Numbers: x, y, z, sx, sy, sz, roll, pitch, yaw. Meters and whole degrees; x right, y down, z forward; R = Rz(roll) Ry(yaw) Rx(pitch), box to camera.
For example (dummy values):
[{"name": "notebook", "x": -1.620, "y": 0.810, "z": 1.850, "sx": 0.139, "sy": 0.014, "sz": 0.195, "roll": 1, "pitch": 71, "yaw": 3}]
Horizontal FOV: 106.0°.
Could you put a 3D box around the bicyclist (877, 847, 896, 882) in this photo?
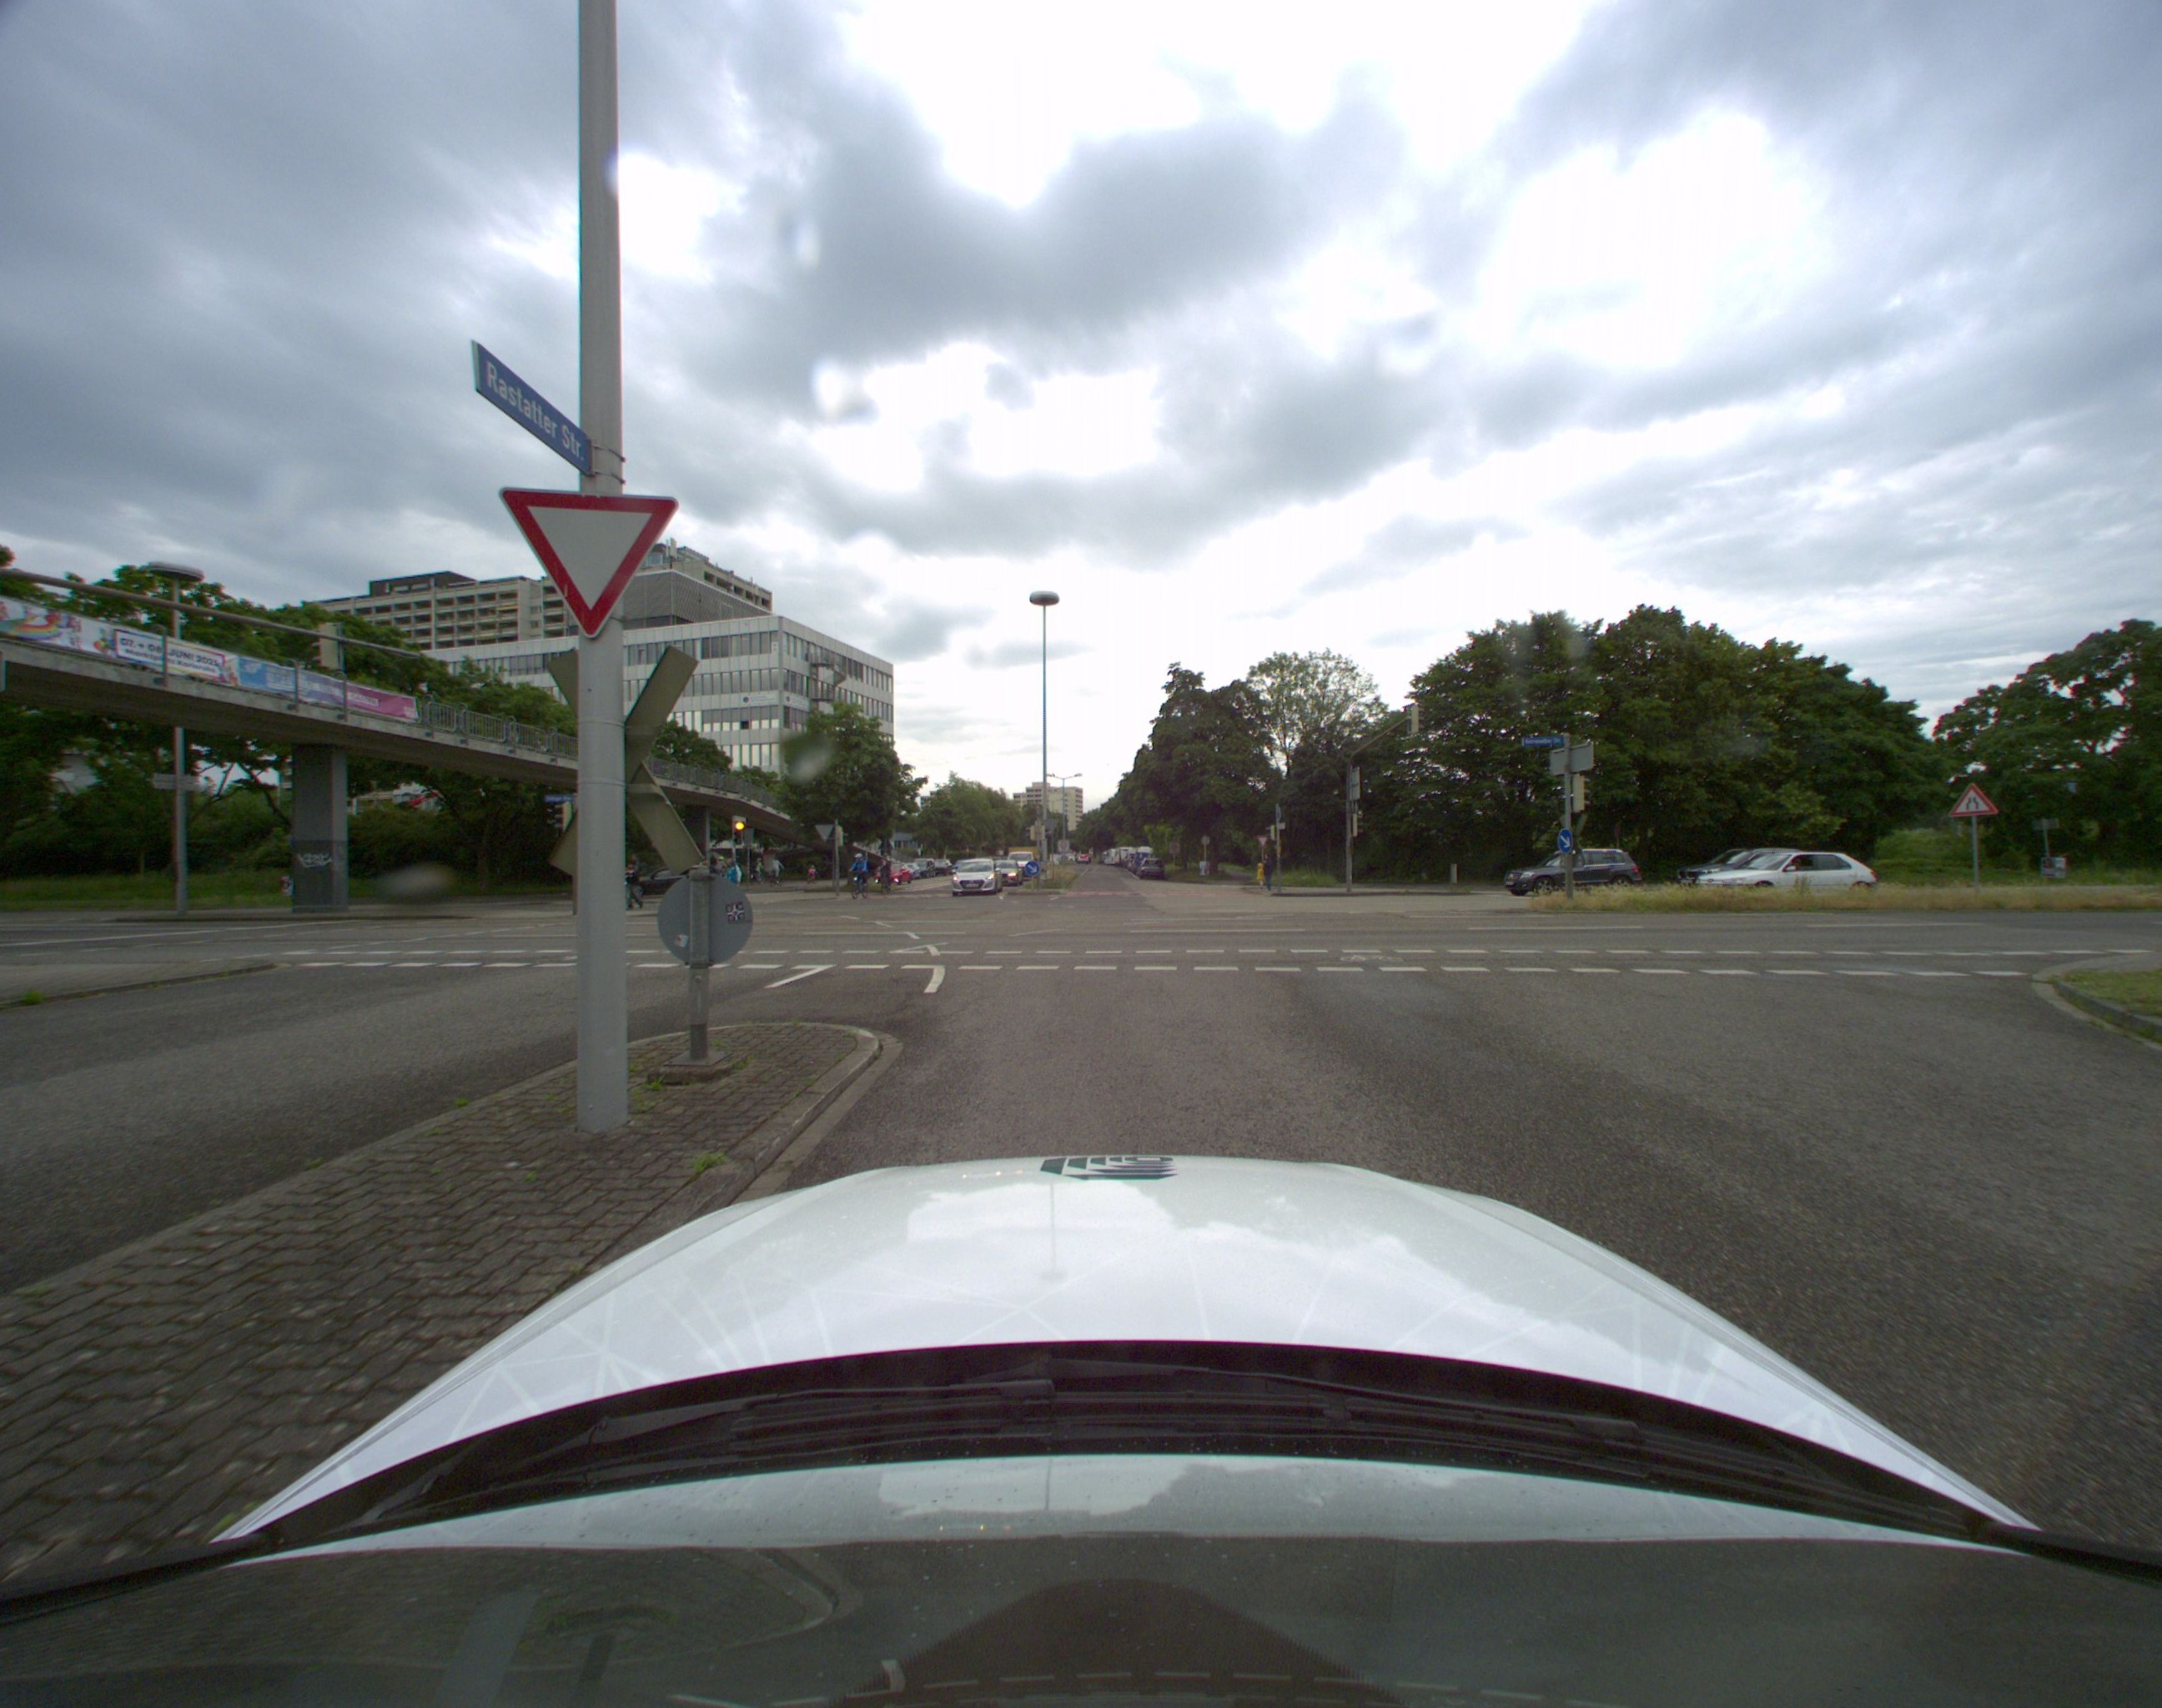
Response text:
[{"name": "bicyclist", "x": -8.941, "y": 0.490, "z": 37.486, "sx": 0.677, "sy": 1.594, "sz": 0.695, "roll": -1, "pitch": 0, "yaw": -1}]

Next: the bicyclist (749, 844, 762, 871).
[{"name": "bicyclist", "x": -20.319, "y": 0.233, "z": 50.894, "sx": 0.563, "sy": 1.644, "sz": 0.531, "roll": -1, "pitch": 0, "yaw": -1}]

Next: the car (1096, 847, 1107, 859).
[{"name": "car", "x": 3.663, "y": -0.161, "z": 145.859, "sx": 1.648, "sy": 1.918, "sz": 3.913, "roll": -1, "pitch": 1, "yaw": -5}]

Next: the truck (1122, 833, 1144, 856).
[{"name": "truck", "x": 6.818, "y": -1.229, "z": 107.127, "sx": 1.990, "sy": 2.838, "sz": 5.723, "roll": -1, "pitch": 0, "yaw": -4}]

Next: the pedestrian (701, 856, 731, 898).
[{"name": "pedestrian", "x": -13.293, "y": 0.830, "z": 29.683, "sx": 0.918, "sy": 1.510, "sz": 0.402, "roll": -1, "pitch": 0, "yaw": -12}]

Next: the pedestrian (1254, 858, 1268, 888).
[{"name": "pedestrian", "x": 8.177, "y": 0.870, "z": 36.975, "sx": 0.525, "sy": 1.342, "sz": 0.524, "roll": -1, "pitch": 0, "yaw": -1}]

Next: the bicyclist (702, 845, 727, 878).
[{"name": "bicyclist", "x": -21.649, "y": 0.435, "z": 48.115, "sx": 0.853, "sy": 1.892, "sz": 1.128, "roll": -1, "pitch": 1, "yaw": 1}]

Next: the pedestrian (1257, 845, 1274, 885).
[{"name": "pedestrian", "x": 8.250, "y": 0.492, "z": 36.412, "sx": 0.655, "sy": 1.749, "sz": 0.459, "roll": -1, "pitch": 0, "yaw": -1}]

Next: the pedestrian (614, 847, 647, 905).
[{"name": "pedestrian", "x": -14.452, "y": 0.690, "z": 26.137, "sx": 0.637, "sy": 1.803, "sz": 0.799, "roll": -1, "pitch": 0, "yaw": -10}]

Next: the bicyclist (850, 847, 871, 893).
[{"name": "bicyclist", "x": -8.722, "y": 0.622, "z": 32.222, "sx": 0.642, "sy": 1.768, "sz": 0.647, "roll": -1, "pitch": 0, "yaw": 0}]

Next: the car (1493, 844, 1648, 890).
[{"name": "car", "x": 17.382, "y": 0.435, "z": 29.049, "sx": 4.450, "sy": 1.504, "sz": 1.846, "roll": -1, "pitch": 1, "yaw": 0}]

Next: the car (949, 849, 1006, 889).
[{"name": "car", "x": -4.235, "y": 0.630, "z": 33.928, "sx": 1.783, "sy": 1.519, "sz": 4.324, "roll": -1, "pitch": -1, "yaw": 0}]

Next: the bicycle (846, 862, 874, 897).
[{"name": "bicycle", "x": -8.765, "y": 0.987, "z": 32.395, "sx": 0.541, "sy": 1.267, "sz": 2.110, "roll": -1, "pitch": 1, "yaw": -1}]

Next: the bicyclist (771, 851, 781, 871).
[{"name": "bicyclist", "x": -18.044, "y": 0.416, "z": 48.167, "sx": 0.403, "sy": 1.181, "sz": 0.377, "roll": -1, "pitch": 1, "yaw": 1}]

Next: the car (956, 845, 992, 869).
[{"name": "car", "x": -6.868, "y": 0.166, "z": 52.756, "sx": 1.764, "sy": 1.477, "sz": 4.389, "roll": -1, "pitch": 1, "yaw": 0}]

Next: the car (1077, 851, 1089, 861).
[{"name": "car", "x": 0.336, "y": 0.351, "z": 141.537, "sx": 2.014, "sy": 1.505, "sz": 3.999, "roll": -1, "pitch": 1, "yaw": -1}]

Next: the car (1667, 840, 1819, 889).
[{"name": "car", "x": 23.629, "y": 0.357, "z": 29.165, "sx": 3.977, "sy": 1.618, "sz": 1.877, "roll": -1, "pitch": 0, "yaw": -2}]

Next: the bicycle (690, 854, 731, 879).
[{"name": "bicycle", "x": -21.671, "y": 0.694, "z": 47.732, "sx": 0.853, "sy": 1.315, "sz": 3.231, "roll": -1, "pitch": 1, "yaw": 1}]

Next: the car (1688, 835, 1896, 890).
[{"name": "car", "x": 18.746, "y": 0.207, "z": 21.590, "sx": 4.123, "sy": 1.357, "sz": 1.647, "roll": -1, "pitch": 1, "yaw": 0}]

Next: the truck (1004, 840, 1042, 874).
[{"name": "truck", "x": -3.915, "y": 0.163, "z": 55.658, "sx": 2.148, "sy": 2.199, "sz": 5.839, "roll": -1, "pitch": 1, "yaw": 0}]

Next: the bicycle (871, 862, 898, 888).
[{"name": "bicycle", "x": -8.954, "y": 0.943, "z": 37.201, "sx": 0.724, "sy": 1.101, "sz": 2.263, "roll": -1, "pitch": 1, "yaw": -1}]

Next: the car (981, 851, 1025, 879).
[{"name": "car", "x": -4.288, "y": 0.578, "z": 45.479, "sx": 1.890, "sy": 1.420, "sz": 4.737, "roll": -1, "pitch": 0, "yaw": 1}]

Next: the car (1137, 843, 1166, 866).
[{"name": "car", "x": 5.238, "y": 0.032, "z": 60.953, "sx": 1.779, "sy": 1.662, "sz": 3.999, "roll": -1, "pitch": 1, "yaw": -1}]

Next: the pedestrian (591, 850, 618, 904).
[{"name": "pedestrian", "x": -15.151, "y": 0.730, "z": 25.892, "sx": 0.619, "sy": 1.691, "sz": 0.403, "roll": -1, "pitch": 0, "yaw": -15}]

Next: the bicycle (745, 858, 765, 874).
[{"name": "bicycle", "x": -20.210, "y": 0.738, "z": 50.471, "sx": 0.524, "sy": 0.949, "sz": 1.709, "roll": -1, "pitch": 1, "yaw": 0}]

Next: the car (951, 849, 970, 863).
[{"name": "car", "x": -14.069, "y": 0.185, "z": 95.378, "sx": 1.666, "sy": 1.552, "sz": 4.000, "roll": -1, "pitch": 1, "yaw": 0}]

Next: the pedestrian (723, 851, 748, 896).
[{"name": "pedestrian", "x": -12.523, "y": 0.714, "z": 29.542, "sx": 0.686, "sy": 1.604, "sz": 0.487, "roll": -1, "pitch": 0, "yaw": -6}]

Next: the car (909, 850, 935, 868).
[{"name": "car", "x": -14.603, "y": 0.437, "z": 75.047, "sx": 1.666, "sy": 1.552, "sz": 3.762, "roll": -1, "pitch": 1, "yaw": 0}]

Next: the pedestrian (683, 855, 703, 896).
[{"name": "pedestrian", "x": -15.254, "y": 0.835, "z": 32.027, "sx": 0.580, "sy": 1.579, "sz": 0.776, "roll": -1, "pitch": 0, "yaw": -19}]

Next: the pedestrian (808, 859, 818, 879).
[{"name": "pedestrian", "x": -17.414, "y": 0.975, "z": 52.938, "sx": 0.498, "sy": 1.270, "sz": 0.459, "roll": -1, "pitch": 0, "yaw": 1}]

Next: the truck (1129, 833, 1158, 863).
[{"name": "truck", "x": 5.943, "y": -0.553, "z": 77.763, "sx": 2.168, "sy": 2.656, "sz": 6.244, "roll": -2, "pitch": 0, "yaw": -1}]

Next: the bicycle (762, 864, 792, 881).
[{"name": "bicycle", "x": -18.092, "y": 1.068, "z": 48.457, "sx": 0.757, "sy": 0.949, "sz": 1.959, "roll": -1, "pitch": 0, "yaw": 10}]

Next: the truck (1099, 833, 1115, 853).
[{"name": "truck", "x": 4.055, "y": -1.690, "z": 129.927, "sx": 1.989, "sy": 3.009, "sz": 5.764, "roll": -1, "pitch": 0, "yaw": -4}]

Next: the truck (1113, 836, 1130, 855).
[{"name": "truck", "x": 5.861, "y": -1.227, "z": 119.177, "sx": 1.989, "sy": 2.572, "sz": 5.373, "roll": -1, "pitch": 0, "yaw": -3}]

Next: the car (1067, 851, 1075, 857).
[{"name": "car", "x": -2.487, "y": -0.011, "z": 209.046, "sx": 2.014, "sy": 1.505, "sz": 3.999, "roll": -1, "pitch": 1, "yaw": -1}]

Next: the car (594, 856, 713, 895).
[{"name": "car", "x": -19.122, "y": 0.935, "z": 36.580, "sx": 1.651, "sy": 1.508, "sz": 4.425, "roll": -1, "pitch": 1, "yaw": 42}]

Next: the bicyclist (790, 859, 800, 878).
[{"name": "bicyclist", "x": -18.654, "y": 0.972, "z": 53.142, "sx": 0.429, "sy": 1.217, "sz": 0.567, "roll": -1, "pitch": 0, "yaw": -2}]

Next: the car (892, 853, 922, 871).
[{"name": "car", "x": -14.853, "y": 0.653, "z": 69.715, "sx": 1.666, "sy": 1.387, "sz": 3.895, "roll": -1, "pitch": 1, "yaw": 0}]

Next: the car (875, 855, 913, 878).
[{"name": "car", "x": -12.333, "y": 0.815, "z": 53.810, "sx": 1.506, "sy": 1.390, "sz": 3.535, "roll": -1, "pitch": 0, "yaw": 2}]
